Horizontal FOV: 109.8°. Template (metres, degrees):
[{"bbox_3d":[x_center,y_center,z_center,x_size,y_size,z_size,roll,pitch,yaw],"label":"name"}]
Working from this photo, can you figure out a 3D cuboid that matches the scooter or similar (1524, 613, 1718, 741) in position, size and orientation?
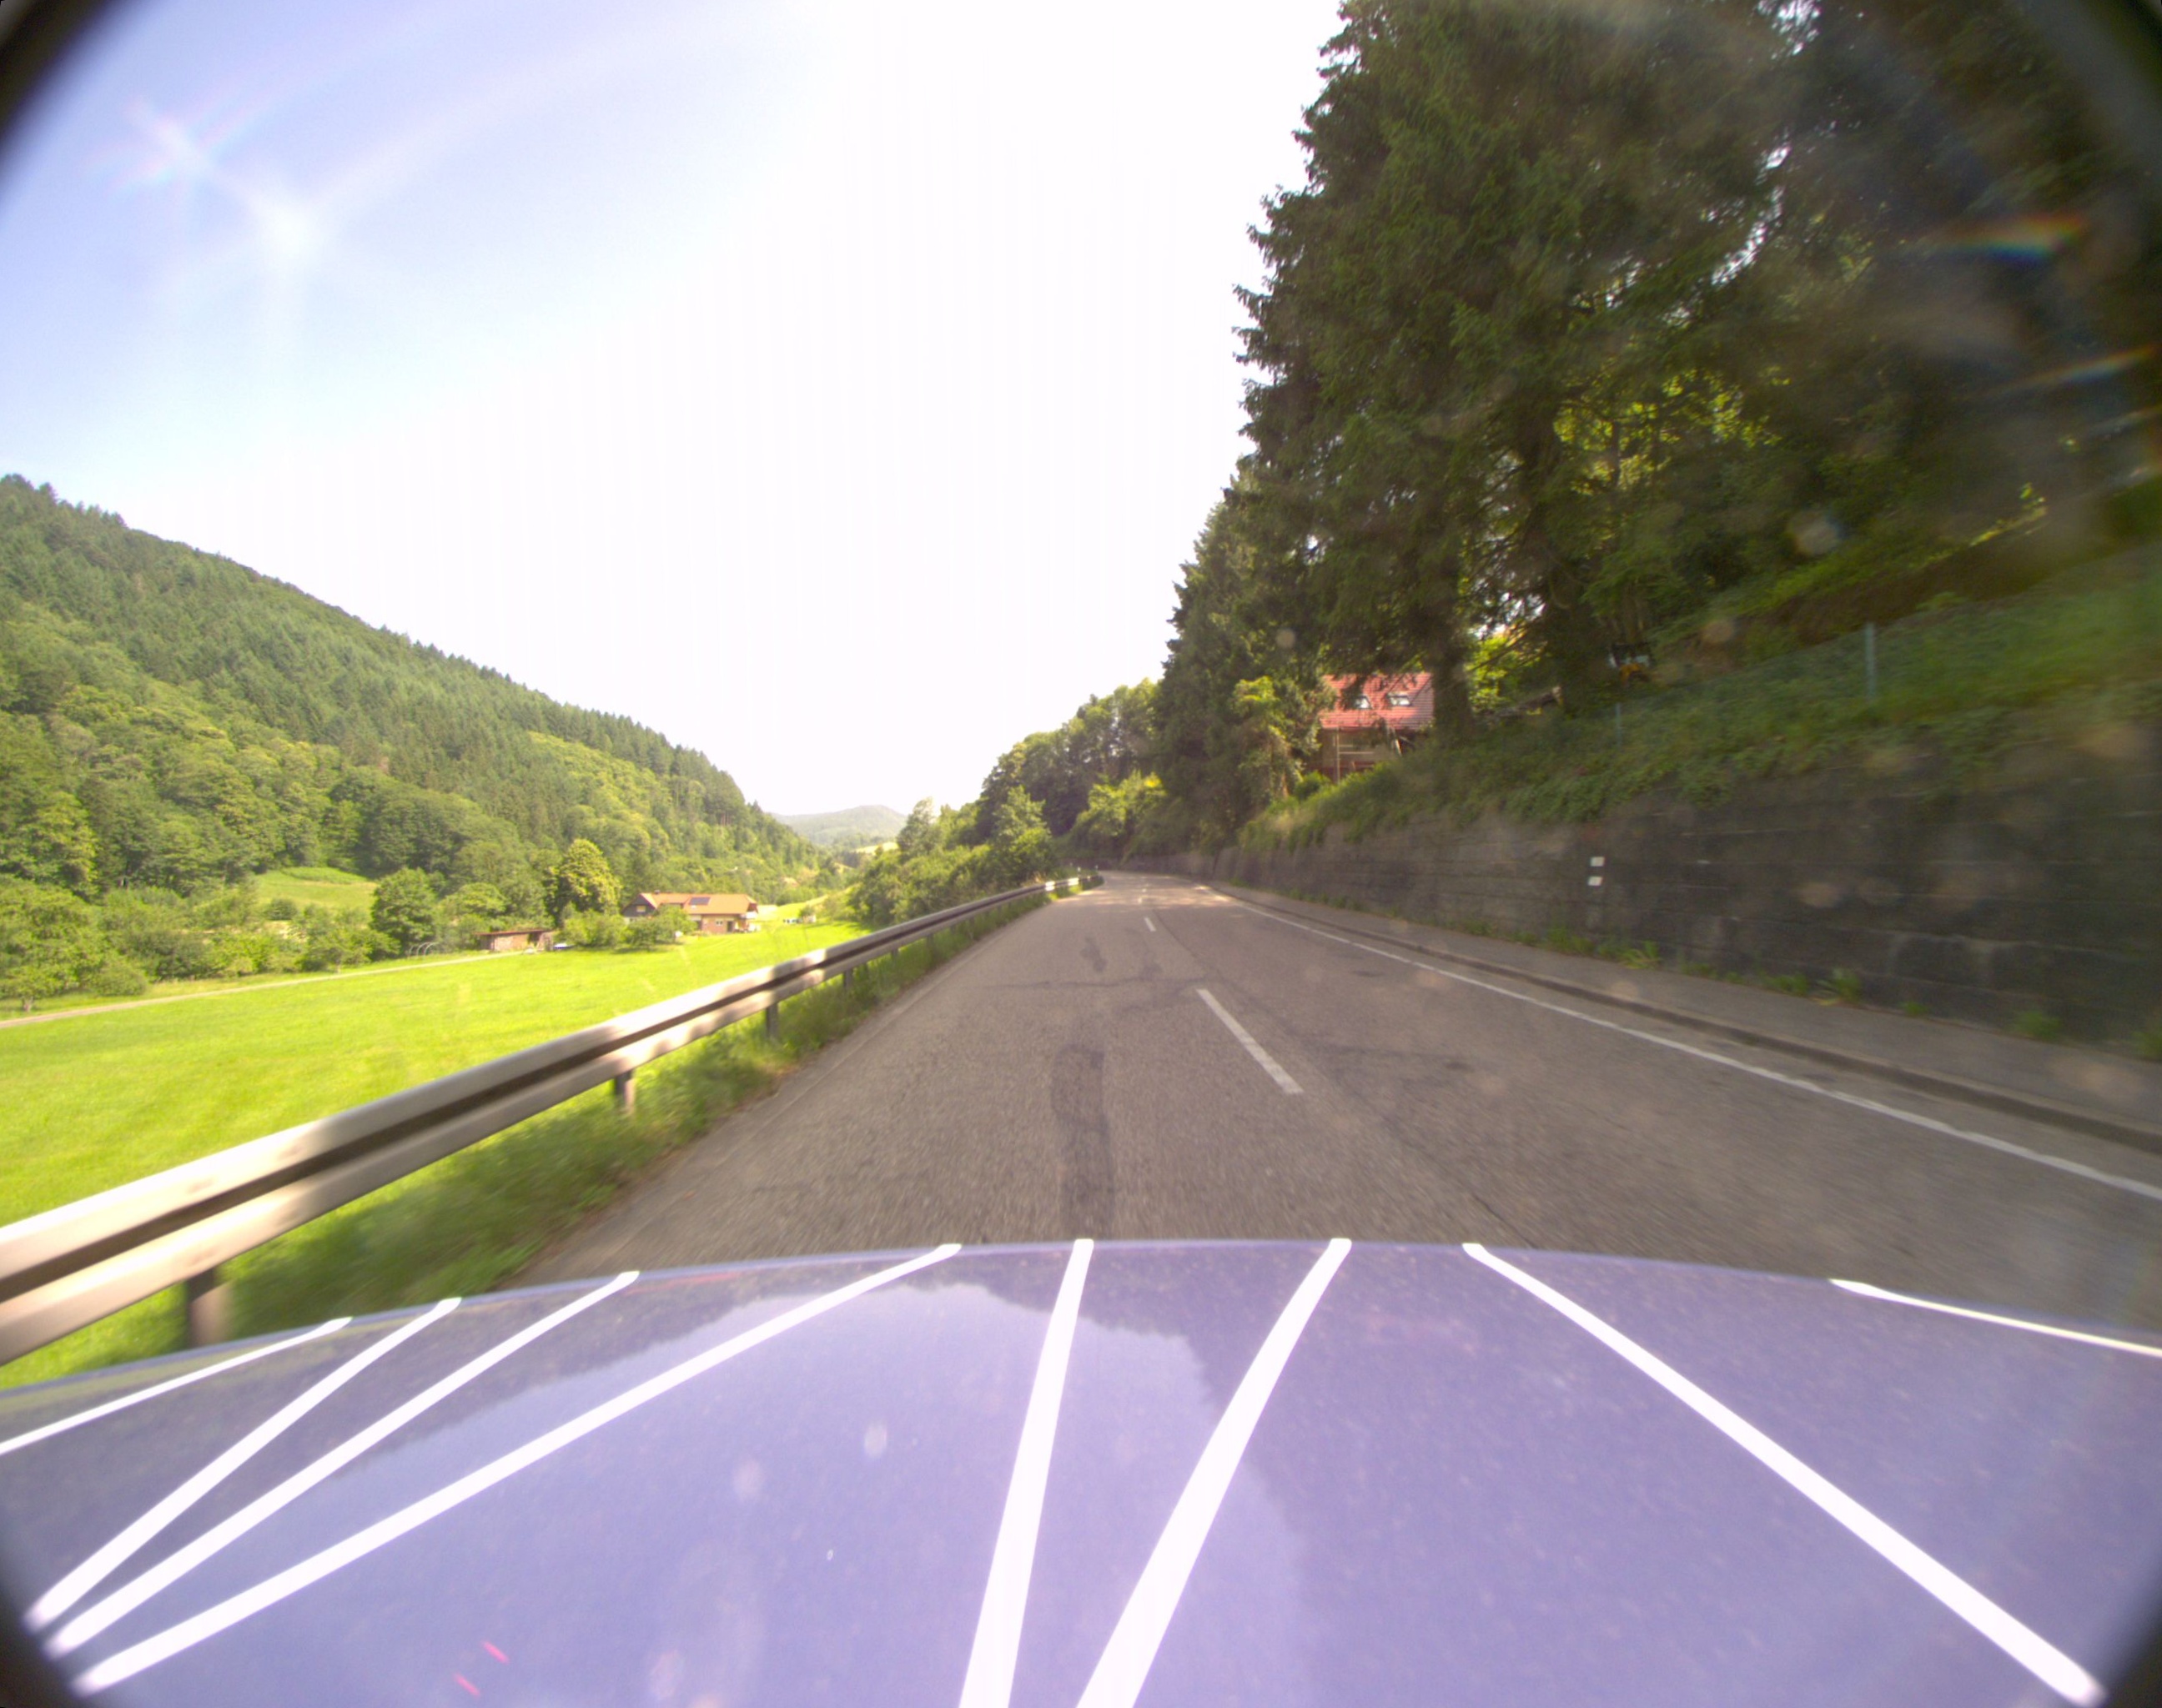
[{"bbox_3d":[13.509,-4.330,19.407,1.982,2.015,4.407,-5,0,6],"label":"scooter or similar"}]
